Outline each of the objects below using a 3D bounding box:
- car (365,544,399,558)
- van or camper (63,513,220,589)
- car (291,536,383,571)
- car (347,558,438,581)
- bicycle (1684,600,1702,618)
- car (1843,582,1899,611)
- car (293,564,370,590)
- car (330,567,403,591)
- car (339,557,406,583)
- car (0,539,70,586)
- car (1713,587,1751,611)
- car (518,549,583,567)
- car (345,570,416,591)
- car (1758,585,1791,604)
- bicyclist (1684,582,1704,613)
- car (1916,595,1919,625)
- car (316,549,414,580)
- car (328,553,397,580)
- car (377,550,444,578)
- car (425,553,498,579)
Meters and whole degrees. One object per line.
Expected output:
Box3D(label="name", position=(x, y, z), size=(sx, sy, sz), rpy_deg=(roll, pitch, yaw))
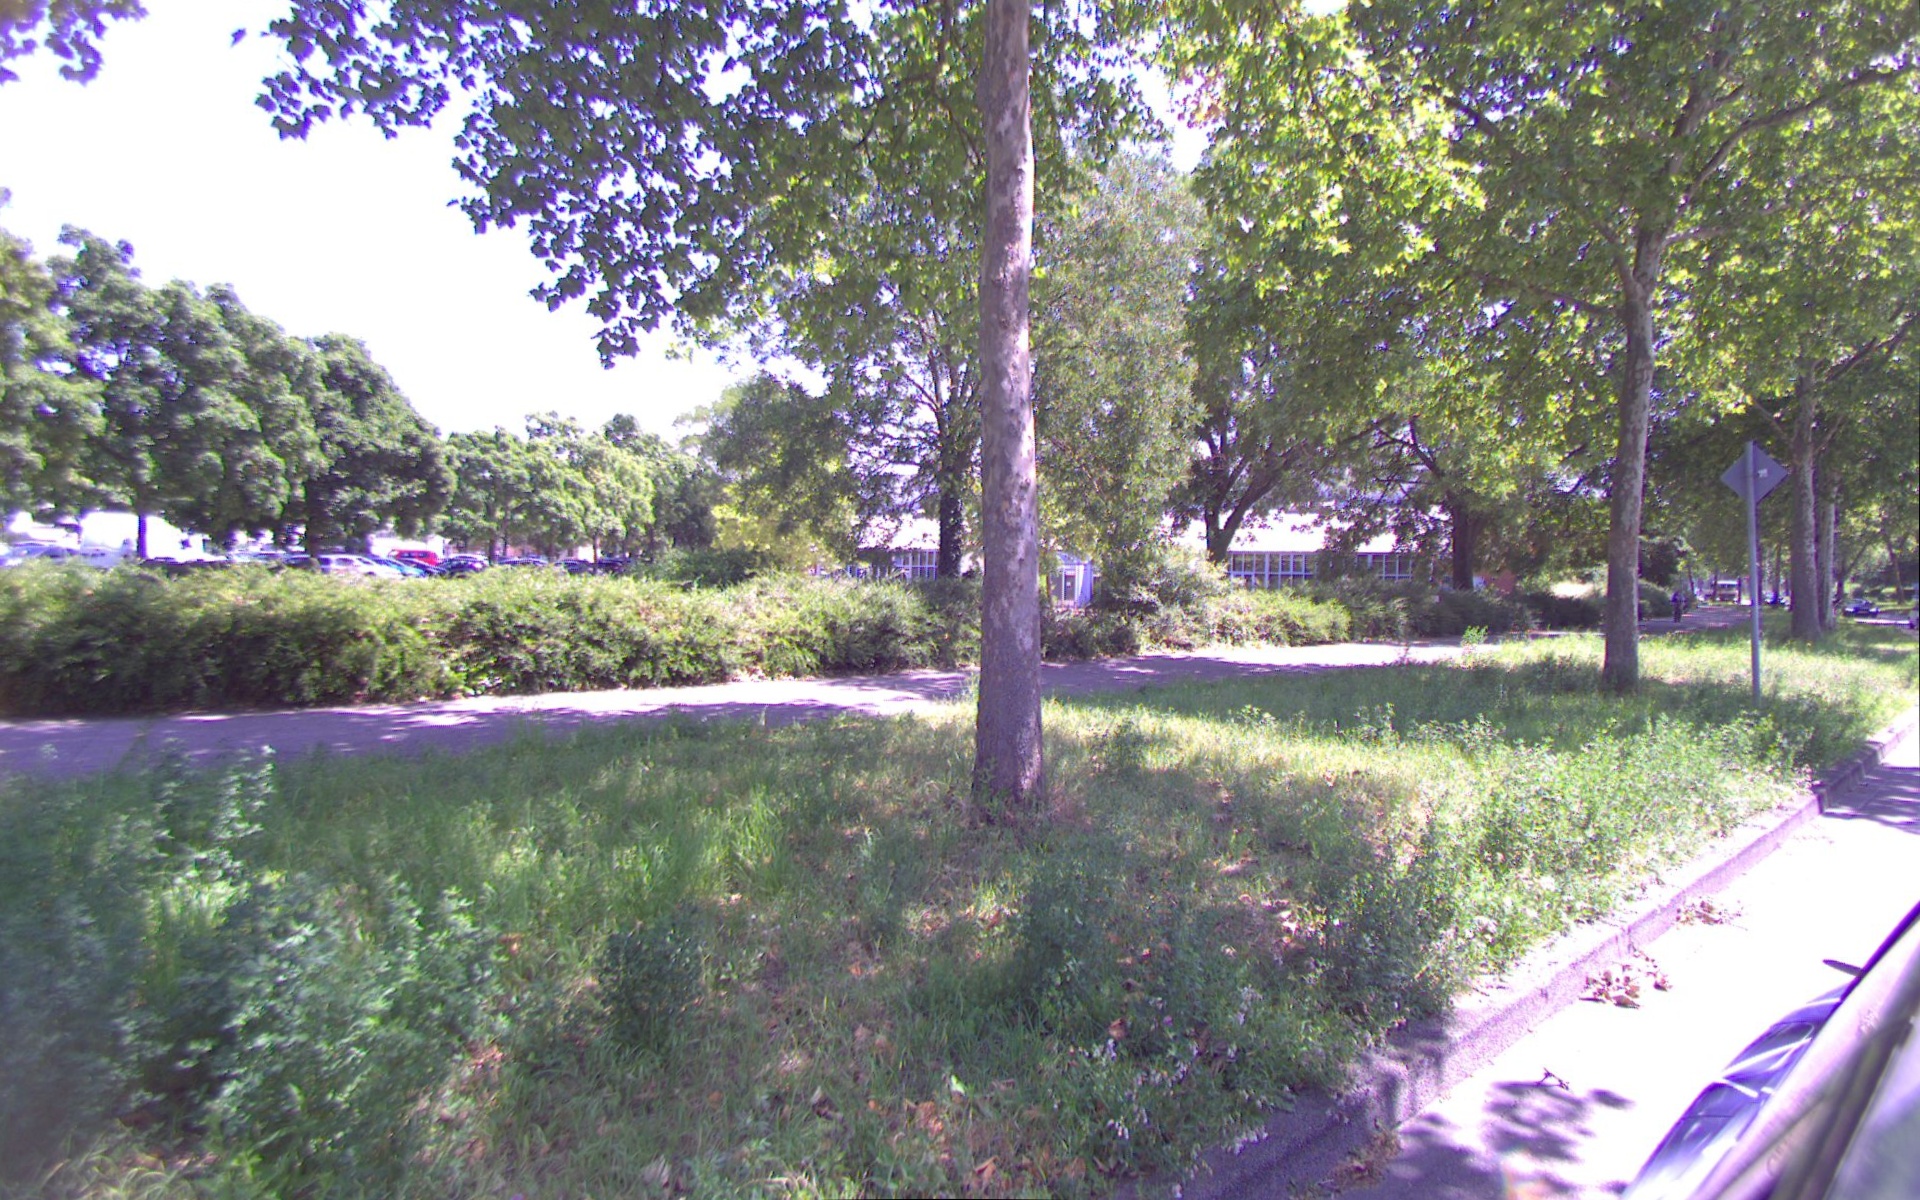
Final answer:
Box3D(label="car", position=(-70.029, -5.929, 122.691), size=(1.433, 1.638, 3.326), rpy_deg=(2, 2, 35))
Box3D(label="van or camper", position=(-32.486, -1.915, 40.390), size=(2.161, 2.785, 5.131), rpy_deg=(1, 2, 0))
Box3D(label="car", position=(-38.797, -2.903, 63.142), size=(4.334, 2.039, 2.249), rpy_deg=(1, 1, -5))
Box3D(label="car", position=(-27.496, -1.463, 49.122), size=(3.494, 1.047, 1.685), rpy_deg=(1, 2, -8))
Box3D(label="bicycle", position=(32.825, 0.403, 45.317), size=(0.464, 0.774, 1.642), rpy_deg=(2, 1, 43))
Box3D(label="car", position=(63.387, -0.239, 70.487), size=(1.983, 1.905, 3.959), rpy_deg=(2, 1, 29))
Box3D(label="car", position=(-26.304, -0.954, 42.390), size=(2.547, 1.049, 0.955), rpy_deg=(1, 1, -8))
Box3D(label="car", position=(-25.733, -0.902, 43.918), size=(2.547, 0.999, 0.955), rpy_deg=(1, 1, -8))
Box3D(label="car", position=(-27.664, -1.399, 47.710), size=(2.547, 1.141, 0.955), rpy_deg=(1, 1, -8))
Box3D(label="car", position=(-36.521, -1.430, 38.422), size=(1.919, 1.739, 4.073), rpy_deg=(1, 1, -1))
Box3D(label="car", position=(91.445, -0.208, 119.923), size=(2.897, 2.687, 6.295), rpy_deg=(1, 2, 32))
Box3D(label="car", position=(-62.659, -6.425, 155.025), size=(8.647, 2.620, 3.054), rpy_deg=(1, 1, -9))
Box3D(label="car", position=(-25.834, -0.874, 45.157), size=(2.547, 0.852, 0.955), rpy_deg=(1, 1, -8))
Box3D(label="car", position=(80.126, -0.562, 99.584), size=(1.985, 1.816, 3.955), rpy_deg=(2, 1, 32))
Box3D(label="bicyclist", position=(32.814, -0.094, 45.258), size=(0.599, 1.355, 0.655), rpy_deg=(3, 1, 44))
Box3D(label="car", position=(47.281, 0.496, 48.553), size=(1.615, 1.463, 3.603), rpy_deg=(2, 1, 37))
Box3D(label="car", position=(-27.329, -1.622, 46.581), size=(3.501, 1.241, 1.622), rpy_deg=(3, 0, -8))
Box3D(label="car", position=(-27.512, -1.538, 46.621), size=(2.547, 1.141, 1.008), rpy_deg=(1, 1, -8))
Box3D(label="car", position=(-40.864, -2.679, 75.354), size=(3.919, 2.039, 1.969), rpy_deg=(-1, 0, -6))
Box3D(label="car", position=(-28.487, -1.926, 57.932), size=(3.357, 1.383, 1.720), rpy_deg=(1, 1, -8))
